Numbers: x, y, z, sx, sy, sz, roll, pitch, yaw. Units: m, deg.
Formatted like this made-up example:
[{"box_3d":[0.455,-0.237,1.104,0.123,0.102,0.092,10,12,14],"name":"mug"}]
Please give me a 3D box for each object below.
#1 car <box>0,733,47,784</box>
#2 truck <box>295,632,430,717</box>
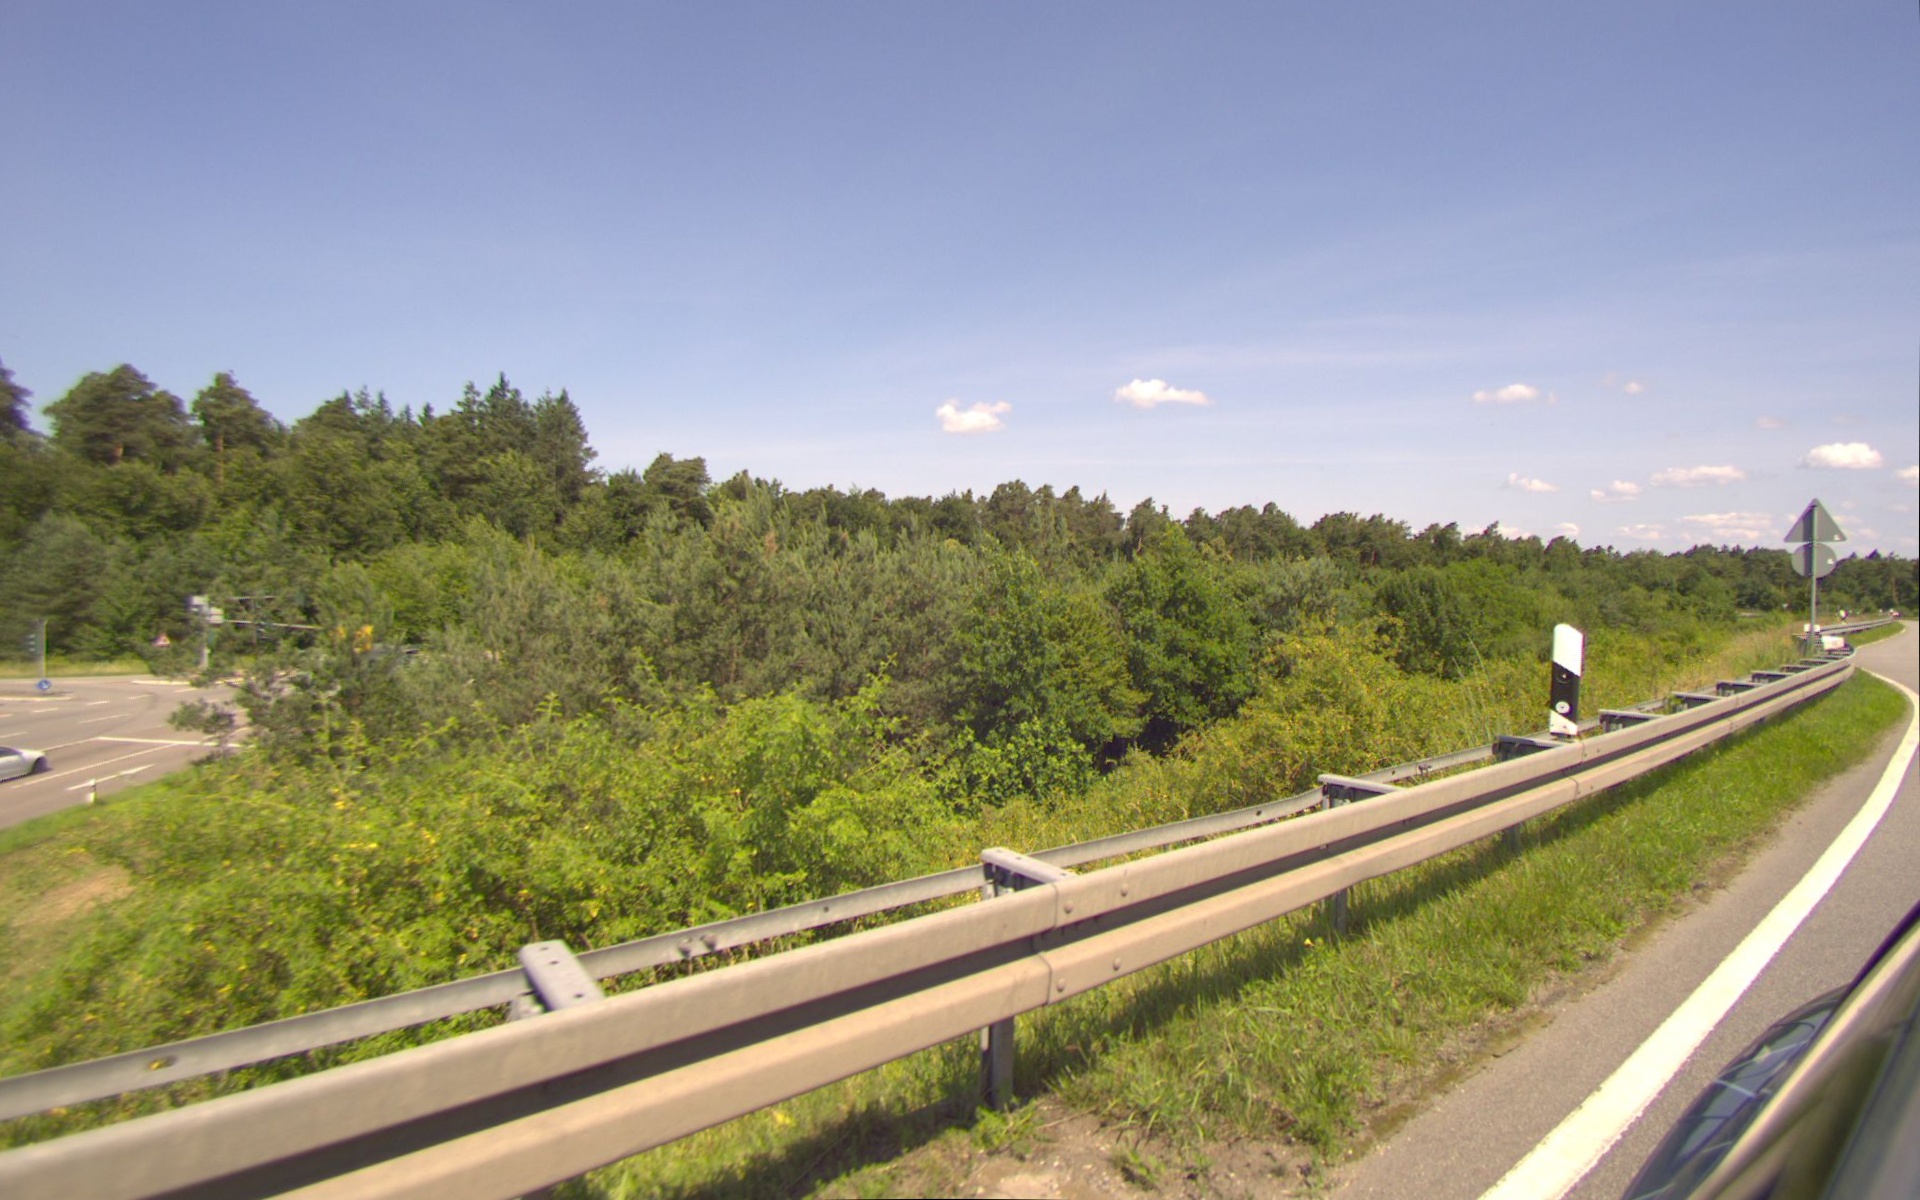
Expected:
[{"box_3d":[-36.653,6.073,37.734,1.667,1.459,4.405,4,1,-8],"name":"car"},{"box_3d":[-33.924,4.076,57.944,2.248,3.765,9.025,3,2,0],"name":"truck"}]
